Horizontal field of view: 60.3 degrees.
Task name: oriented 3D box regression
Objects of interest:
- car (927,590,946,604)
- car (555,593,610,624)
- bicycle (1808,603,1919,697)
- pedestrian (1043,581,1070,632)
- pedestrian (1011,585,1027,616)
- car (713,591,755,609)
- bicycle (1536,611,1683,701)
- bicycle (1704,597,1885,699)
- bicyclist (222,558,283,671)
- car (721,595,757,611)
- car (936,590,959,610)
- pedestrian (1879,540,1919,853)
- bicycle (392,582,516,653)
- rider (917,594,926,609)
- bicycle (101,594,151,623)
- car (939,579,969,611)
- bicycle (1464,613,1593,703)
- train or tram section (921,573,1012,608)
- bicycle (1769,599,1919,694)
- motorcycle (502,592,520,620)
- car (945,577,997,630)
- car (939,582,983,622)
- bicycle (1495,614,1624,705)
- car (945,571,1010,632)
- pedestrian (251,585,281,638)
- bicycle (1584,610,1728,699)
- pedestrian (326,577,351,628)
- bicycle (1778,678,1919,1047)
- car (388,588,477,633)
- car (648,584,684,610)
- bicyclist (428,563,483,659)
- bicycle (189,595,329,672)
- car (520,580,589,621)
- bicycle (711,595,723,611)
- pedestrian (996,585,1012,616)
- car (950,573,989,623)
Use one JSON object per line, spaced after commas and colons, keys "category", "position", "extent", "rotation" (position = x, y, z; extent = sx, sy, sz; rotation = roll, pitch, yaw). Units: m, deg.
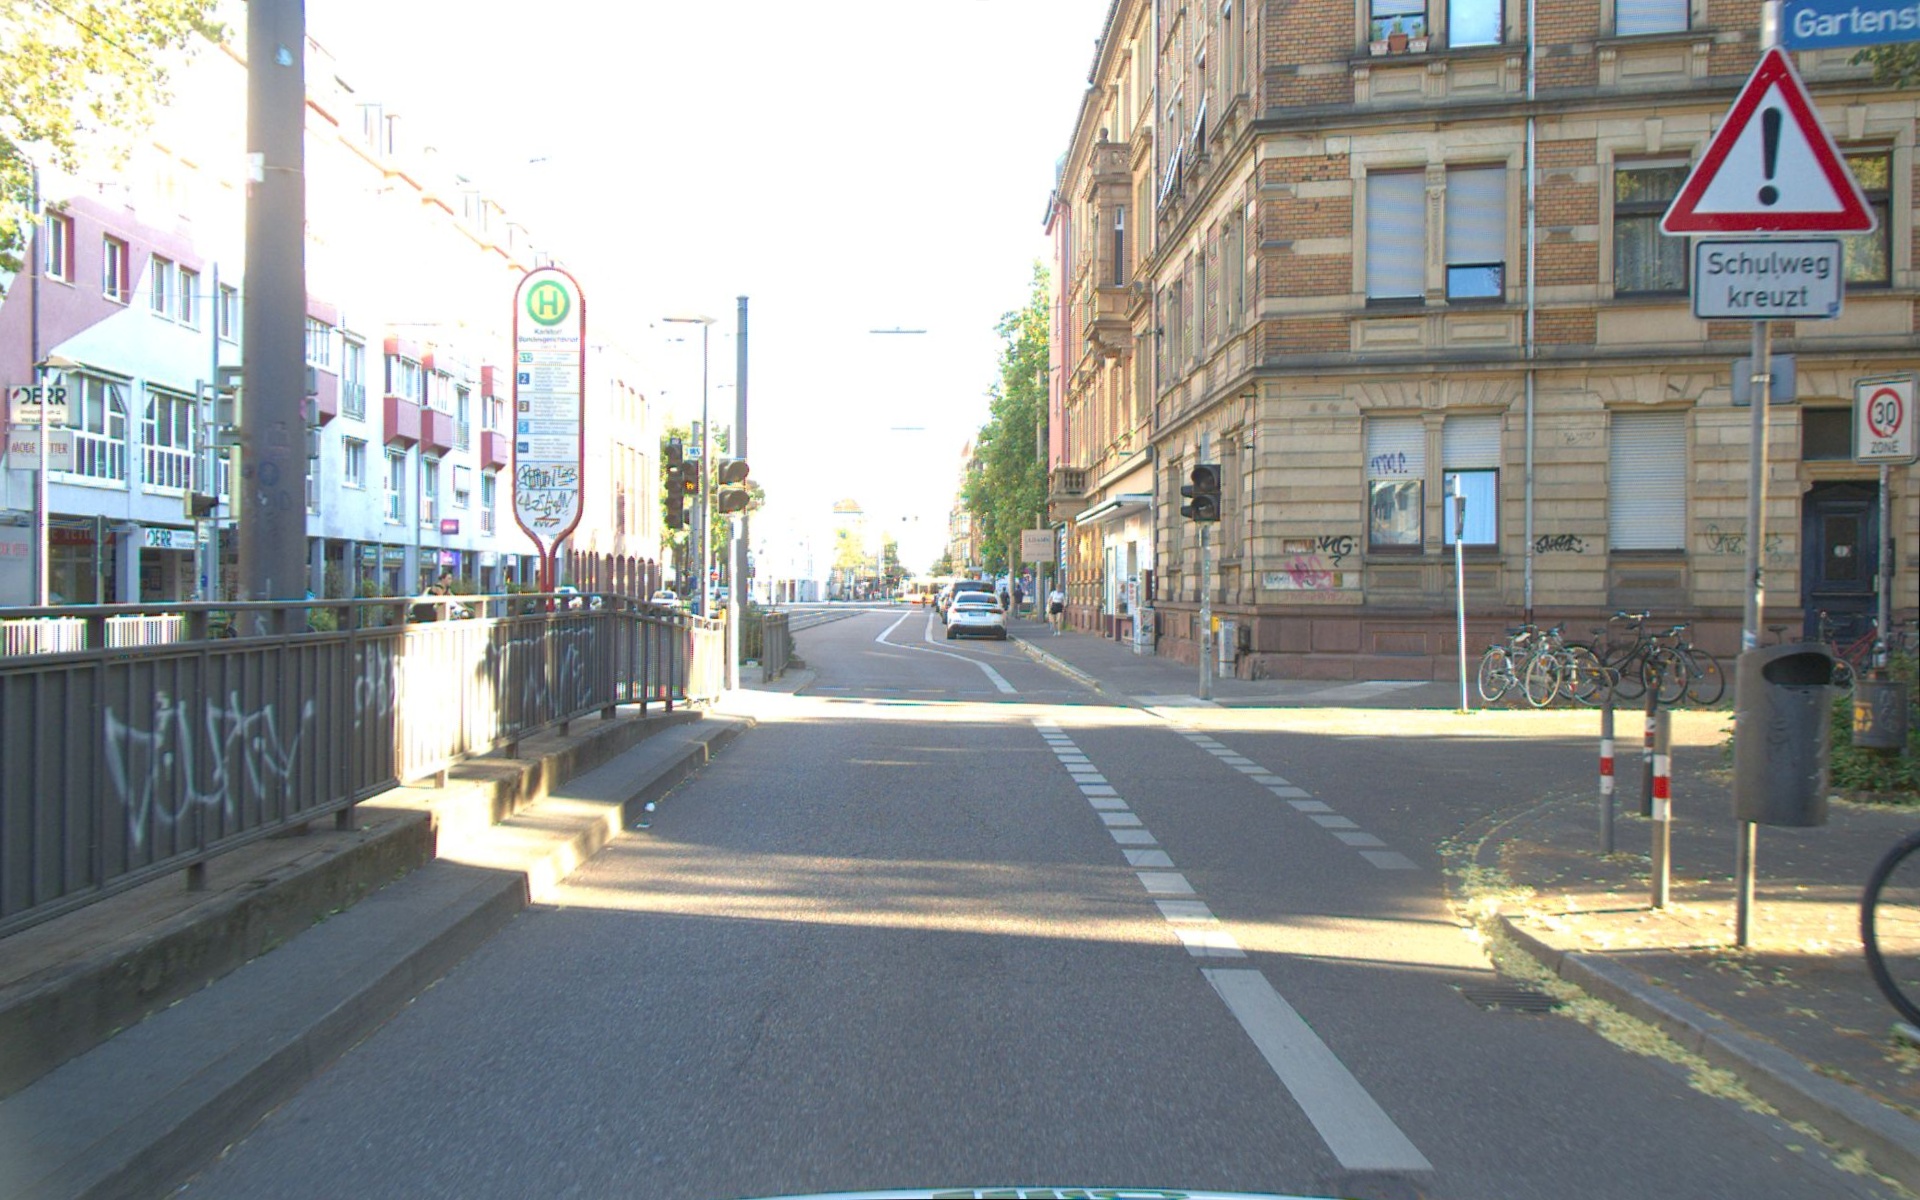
{"category": "car", "position": [-2.682, -0.340, 188.789], "extent": [2.024, 1.413, 4.224], "rotation": [3, 0, -1]}
{"category": "car", "position": [-19.020, 0.426, 83.551], "extent": [1.831, 1.476, 3.584], "rotation": [2, 0, 2]}
{"category": "bicycle", "position": [11.900, 0.631, 21.368], "extent": [0.398, 1.143, 1.895], "rotation": [1, 0, -21]}
{"category": "pedestrian", "position": [3.084, 0.198, 52.958], "extent": [0.760, 1.594, 0.914], "rotation": [-3, 0, 2]}
{"category": "pedestrian", "position": [3.109, 0.043, 87.529], "extent": [0.760, 1.594, 0.913], "rotation": [-3, 0, 0]}
{"category": "car", "position": [-22.863, -0.024, 167.256], "extent": [3.831, 1.656, 1.855], "rotation": [2, 0, -32]}
{"category": "bicycle", "position": [8.207, 0.682, 20.986], "extent": [0.457, 1.057, 1.889], "rotation": [1, 0, -29]}
{"category": "bicycle", "position": [10.532, 0.573, 20.957], "extent": [0.606, 1.203, 2.088], "rotation": [1, 0, -27]}
{"category": "bicyclist", "position": [-11.029, 0.222, 25.795], "extent": [0.728, 1.742, 0.533], "rotation": [0, 0, -5]}
{"category": "car", "position": [-23.665, 0.303, 177.359], "extent": [3.487, 1.507, 1.564], "rotation": [2, 0, -33]}
{"category": "car", "position": [-0.987, -0.007, 129.250], "extent": [1.688, 1.595, 4.082], "rotation": [0, 0, -2]}
{"category": "pedestrian", "position": [5.592, 0.530, 8.821], "extent": [0.767, 1.694, 1.033], "rotation": [0, 2, 0]}
{"category": "bicycle", "position": [-8.532, 0.297, 27.929], "extent": [1.854, 1.096, 0.584], "rotation": [3, 0, 1]}
{"category": "rider", "position": [-3.980, 0.153, 169.898], "extent": [0.865, 1.507, 0.713], "rotation": [2, 0, 0]}
{"category": "bicycle", "position": [-20.095, 0.197, 39.864], "extent": [0.447, 0.670, 1.808], "rotation": [3, 0, -6]}
{"category": "car", "position": [-0.393, -0.351, 110.497], "extent": [1.931, 2.049, 4.558], "rotation": [-1, 0, 0]}
{"category": "bicycle", "position": [7.109, 0.701, 20.784], "extent": [0.444, 1.042, 1.897], "rotation": [1, 0, -19]}
{"category": "train or tram section", "position": [0.900, -1.296, 222.627], "extent": [11.877, 4.029, 2.684], "rotation": [3, 0, -21]}
{"category": "bicycle", "position": [11.441, 0.576, 21.356], "extent": [0.439, 1.143, 1.942], "rotation": [1, 0, -25]}
{"category": "motorcycle", "position": [-20.121, 0.266, 74.160], "extent": [0.659, 1.226, 2.130], "rotation": [2, -1, -18]}
{"category": "car", "position": [0.418, 0.123, 64.753], "extent": [1.915, 1.901, 4.988], "rotation": [2, 0, 0]}
{"category": "car", "position": [0.020, 0.108, 80.852], "extent": [1.910, 1.819, 5.179], "rotation": [2, 0, -2]}
{"category": "bicycle", "position": [7.510, 0.723, 20.793], "extent": [0.410, 1.042, 1.897], "rotation": [1, 0, -19]}
{"category": "car", "position": [0.534, 0.037, 52.791], "extent": [1.926, 1.802, 4.875], "rotation": [2, 0, 0]}
{"category": "pedestrian", "position": [-22.733, 0.368, 54.208], "extent": [0.728, 1.742, 0.615], "rotation": [0, 0, -5]}
{"category": "bicycle", "position": [8.766, 0.668, 20.906], "extent": [0.488, 1.042, 1.895], "rotation": [1, 0, -21]}
{"category": "pedestrian", "position": [-21.280, 0.087, 56.637], "extent": [0.602, 1.742, 0.745], "rotation": [0, 0, -3]}
{"category": "bicycle", "position": [3.738, 0.817, 5.407], "extent": [1.797, 1.072, 0.710], "rotation": [1, 0, -5]}
{"category": "car", "position": [-18.285, 0.346, 57.530], "extent": [1.832, 1.464, 4.703], "rotation": [1, 0, -4]}
{"category": "car", "position": [-19.544, -0.221, 110.090], "extent": [1.832, 1.628, 4.251], "rotation": [1, 0, -4]}
{"category": "bicyclist", "position": [-8.521, 0.186, 27.950], "extent": [0.727, 1.605, 0.534], "rotation": [0, 0, 2]}
{"category": "bicycle", "position": [-10.915, 0.513, 25.786], "extent": [1.856, 1.096, 0.583], "rotation": [3, 0, -6]}
{"category": "car", "position": [-18.599, 0.052, 76.077], "extent": [2.049, 1.742, 4.817], "rotation": [2, -1, -2]}
{"category": "bicycle", "position": [-17.599, 0.209, 119.817], "extent": [0.572, 1.096, 2.177], "rotation": [-1, 0, -15]}
{"category": "pedestrian", "position": [2.322, 0.002, 87.517], "extent": [0.760, 1.594, 0.913], "rotation": [-3, 0, 0]}
{"category": "car", "position": [0.452, -0.071, 75.452], "extent": [1.670, 2.157, 3.707], "rotation": [1, 0, 2]}
